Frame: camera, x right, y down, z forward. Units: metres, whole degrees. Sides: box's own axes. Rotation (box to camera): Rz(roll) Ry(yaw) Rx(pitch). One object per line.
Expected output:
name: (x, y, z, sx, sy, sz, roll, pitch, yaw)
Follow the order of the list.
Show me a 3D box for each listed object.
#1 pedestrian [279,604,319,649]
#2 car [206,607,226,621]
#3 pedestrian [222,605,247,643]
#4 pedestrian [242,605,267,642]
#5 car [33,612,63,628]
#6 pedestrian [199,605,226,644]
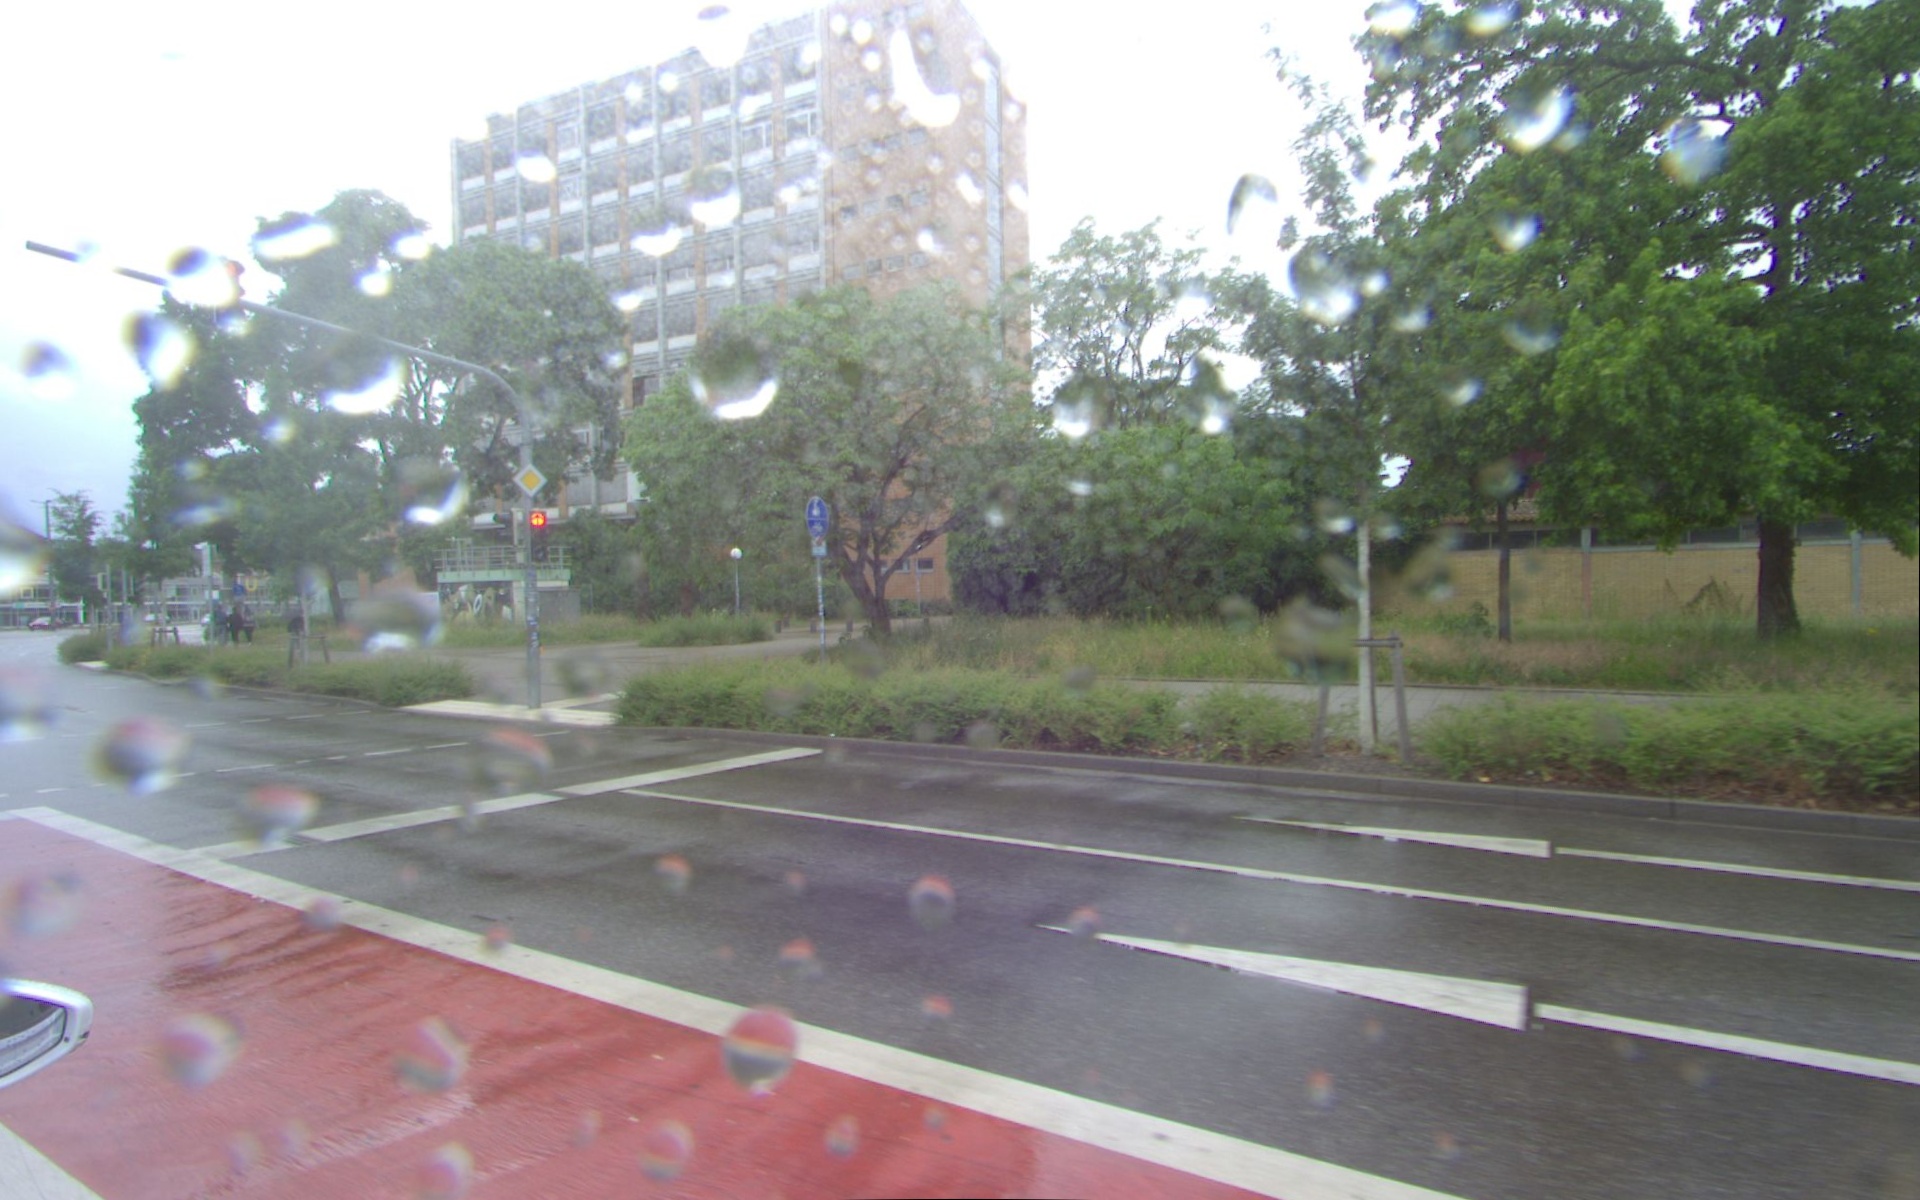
pedestrian: (-24.419, 0.979, 37.000, 0.926, 1.609, 1.016, 0, 1, 43)
car: (-90.376, 1.677, 121.607, 1.773, 1.665, 4.131, -1, 0, -35)
pedestrian: (-31.445, 1.030, 43.409, 0.926, 1.609, 0.699, 0, 1, 43)
pedestrian: (-31.100, 1.020, 44.157, 0.926, 1.609, 0.699, 0, 1, 43)
car: (-101.845, 2.220, 111.892, 1.771, 1.665, 4.022, -1, 0, -32)
pedestrian: (-32.036, 1.042, 42.891, 0.926, 1.609, 0.749, 0, 1, 43)
